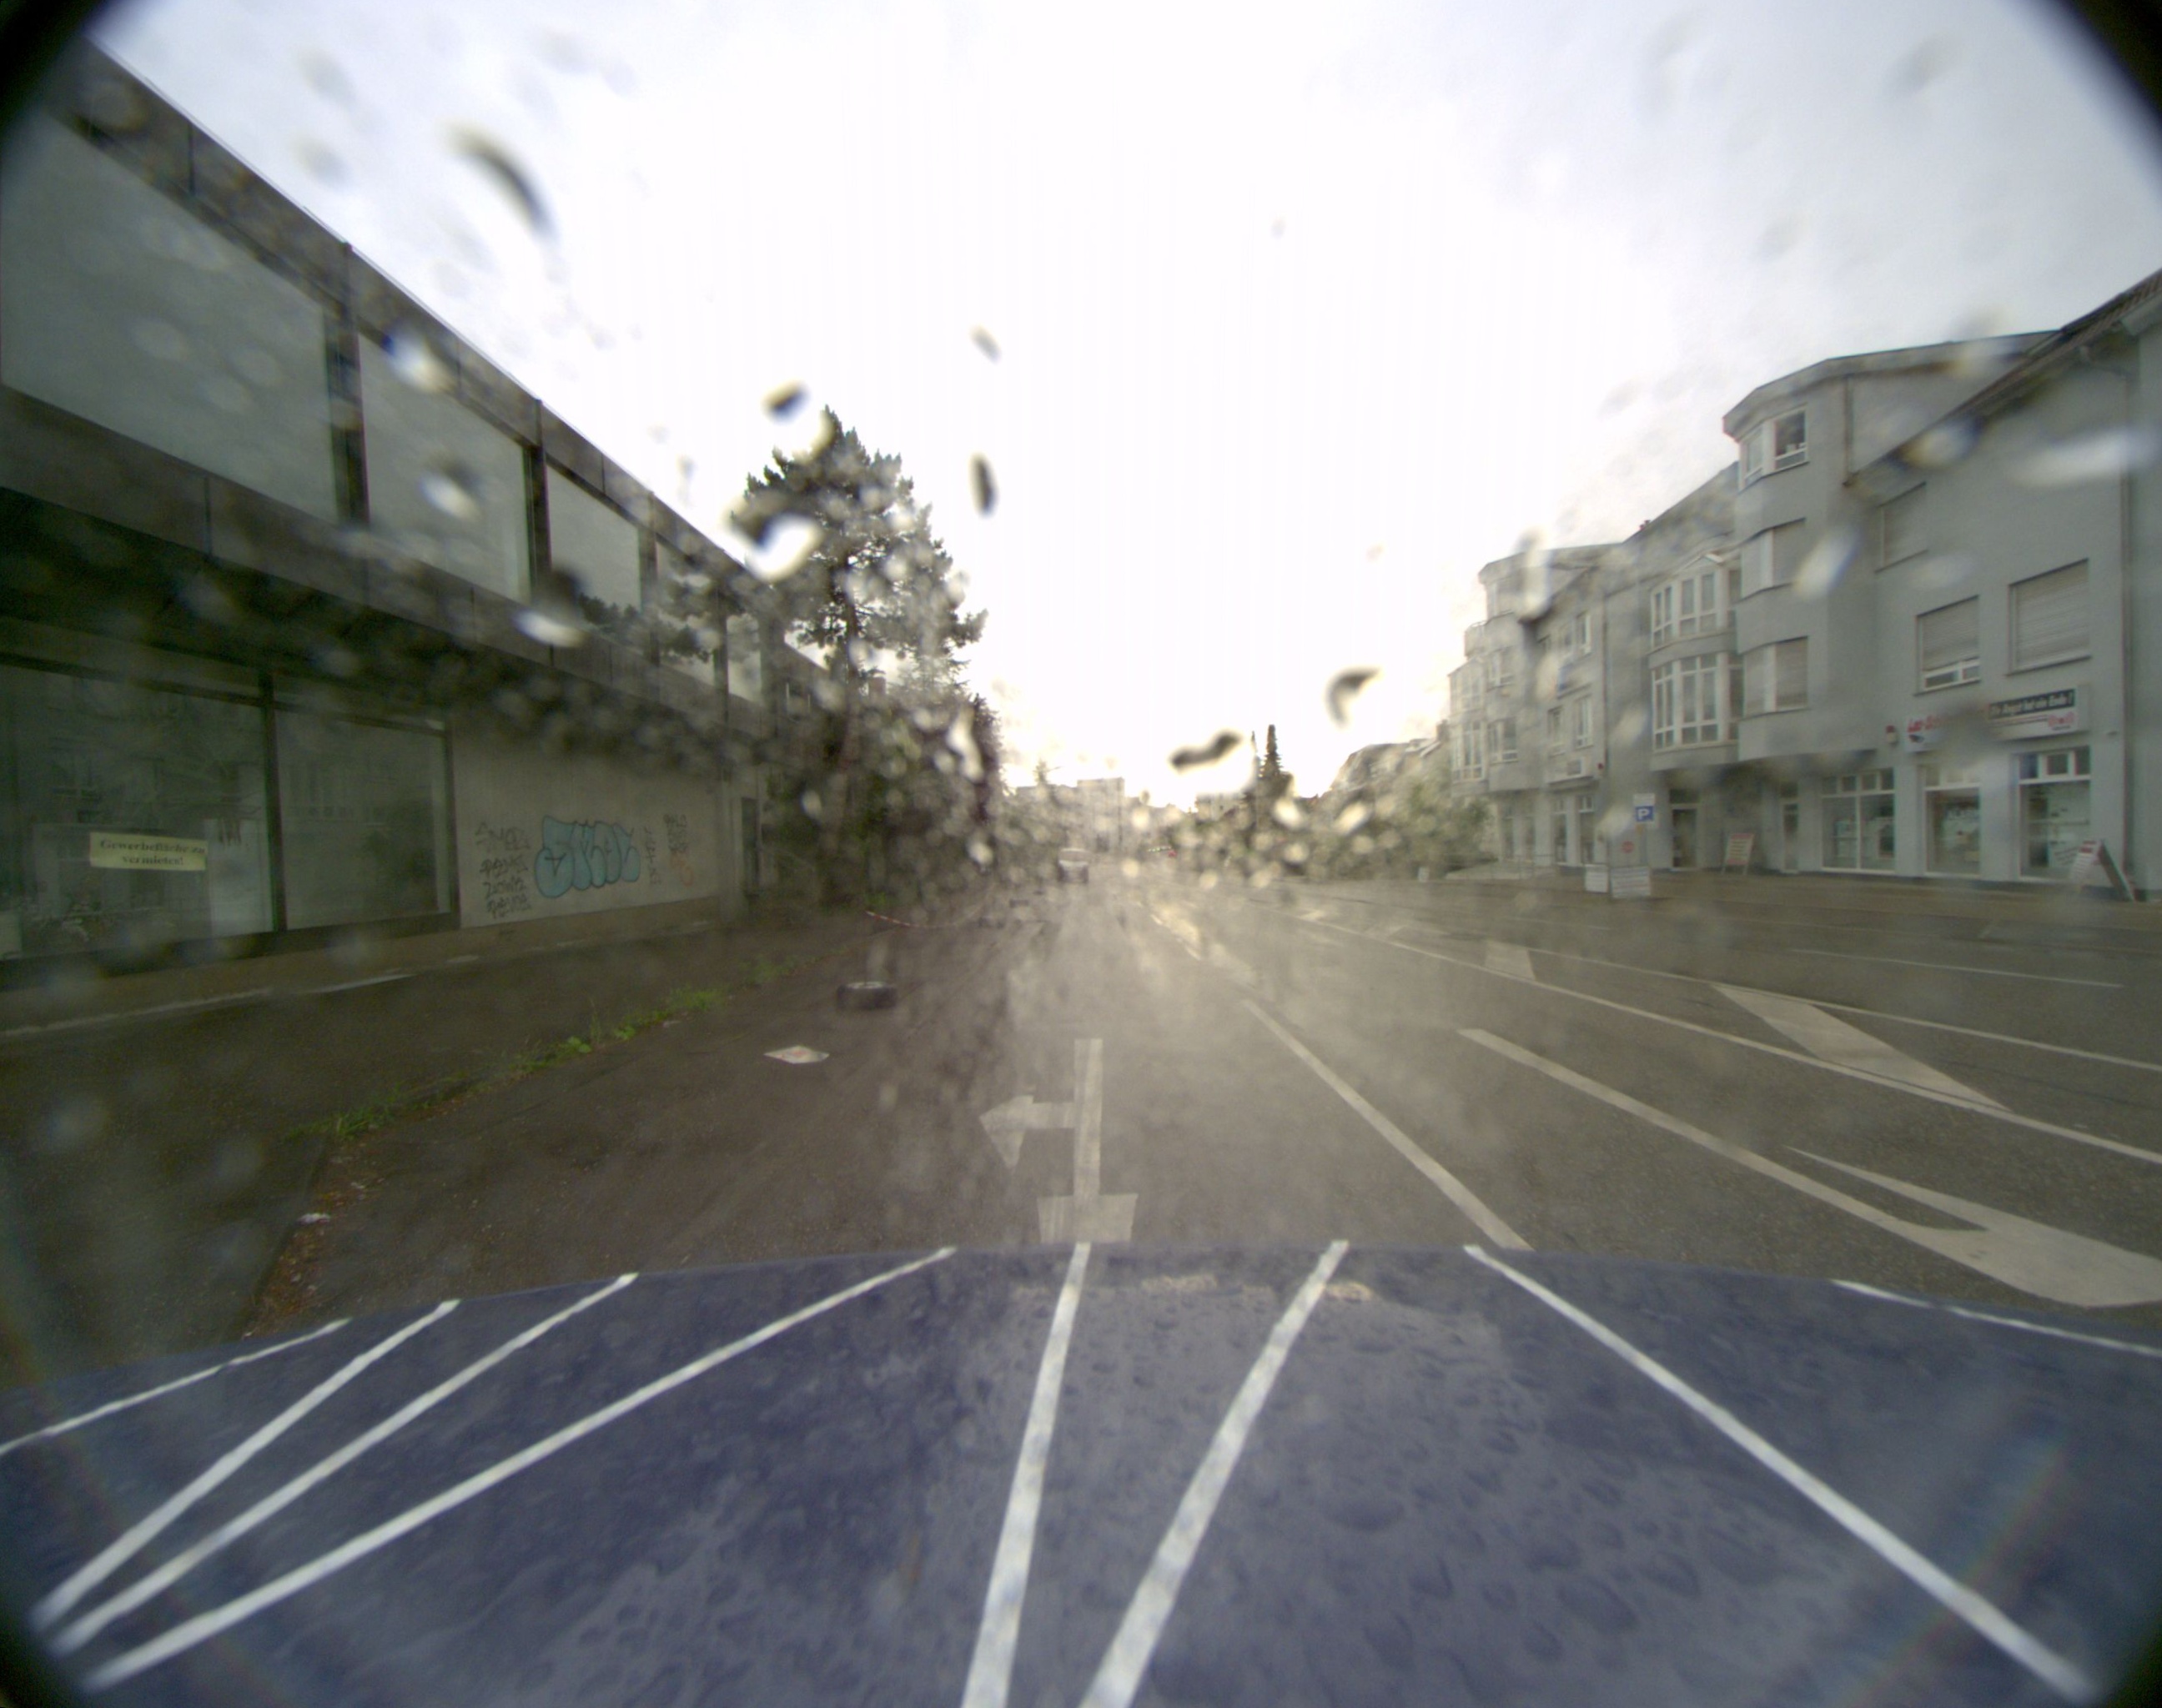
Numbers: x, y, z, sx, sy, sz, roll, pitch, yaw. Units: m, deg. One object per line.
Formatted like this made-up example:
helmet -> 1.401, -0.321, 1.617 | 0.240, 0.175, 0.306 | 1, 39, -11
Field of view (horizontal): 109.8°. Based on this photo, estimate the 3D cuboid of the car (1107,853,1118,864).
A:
car -> 5.719, 0.814, 137.582 | 1.835, 1.783, 3.838 | -3, 0, 3

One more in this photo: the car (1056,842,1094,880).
car -> -0.324, 0.470, 51.551 | 2.397, 2.417, 6.433 | -1, 0, 1

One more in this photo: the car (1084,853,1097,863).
car -> 1.730, 0.682, 133.849 | 1.912, 1.622, 3.703 | -1, 0, 5
